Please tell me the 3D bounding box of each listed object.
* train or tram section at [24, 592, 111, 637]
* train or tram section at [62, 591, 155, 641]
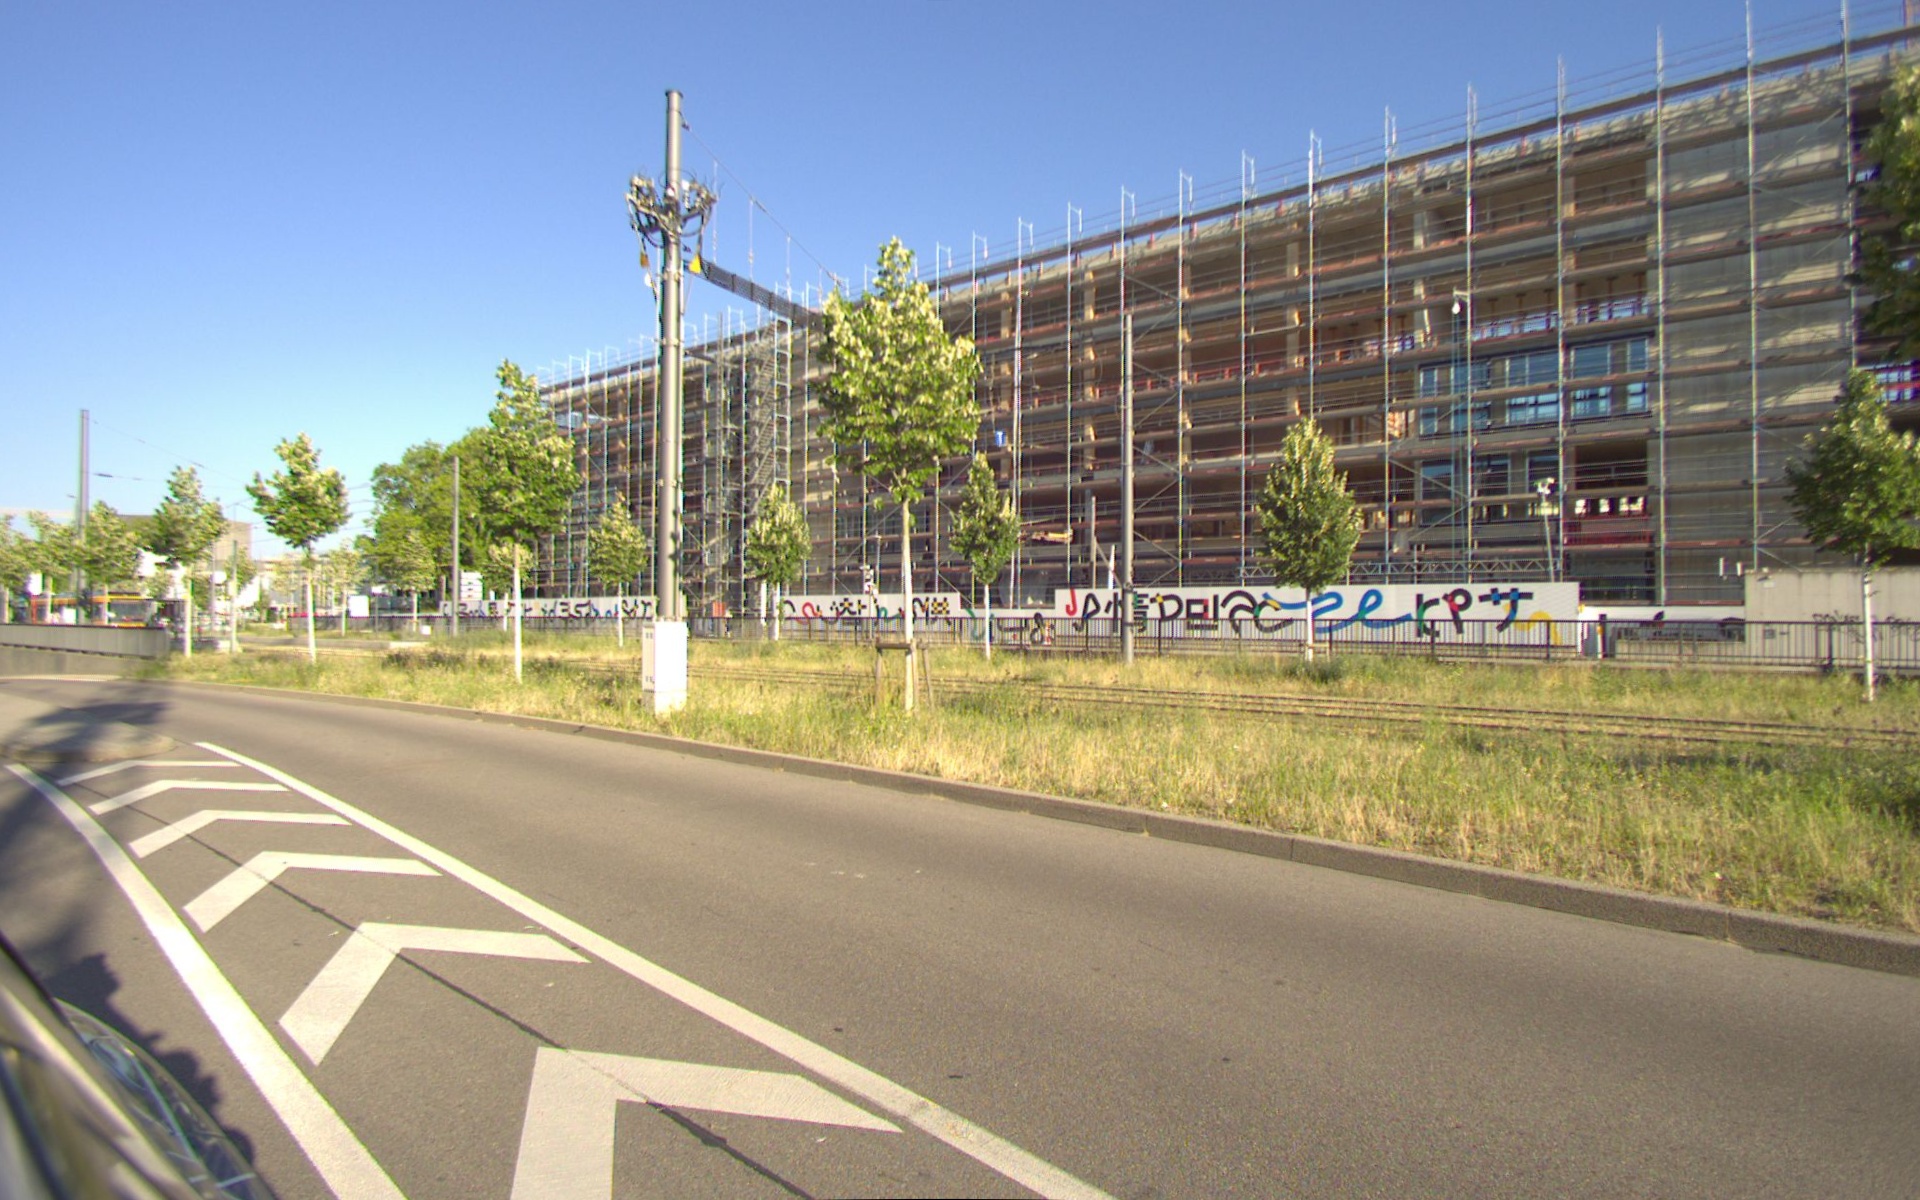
[{"bbox_3d":[-73.274,1.175,82.955,14.749,3.423,2.917,-1,0,39],"label":"train or tram section"},{"bbox_3d":[-62.685,1.117,74.349,12.619,3.423,2.917,-1,0,39],"label":"train or tram section"}]
